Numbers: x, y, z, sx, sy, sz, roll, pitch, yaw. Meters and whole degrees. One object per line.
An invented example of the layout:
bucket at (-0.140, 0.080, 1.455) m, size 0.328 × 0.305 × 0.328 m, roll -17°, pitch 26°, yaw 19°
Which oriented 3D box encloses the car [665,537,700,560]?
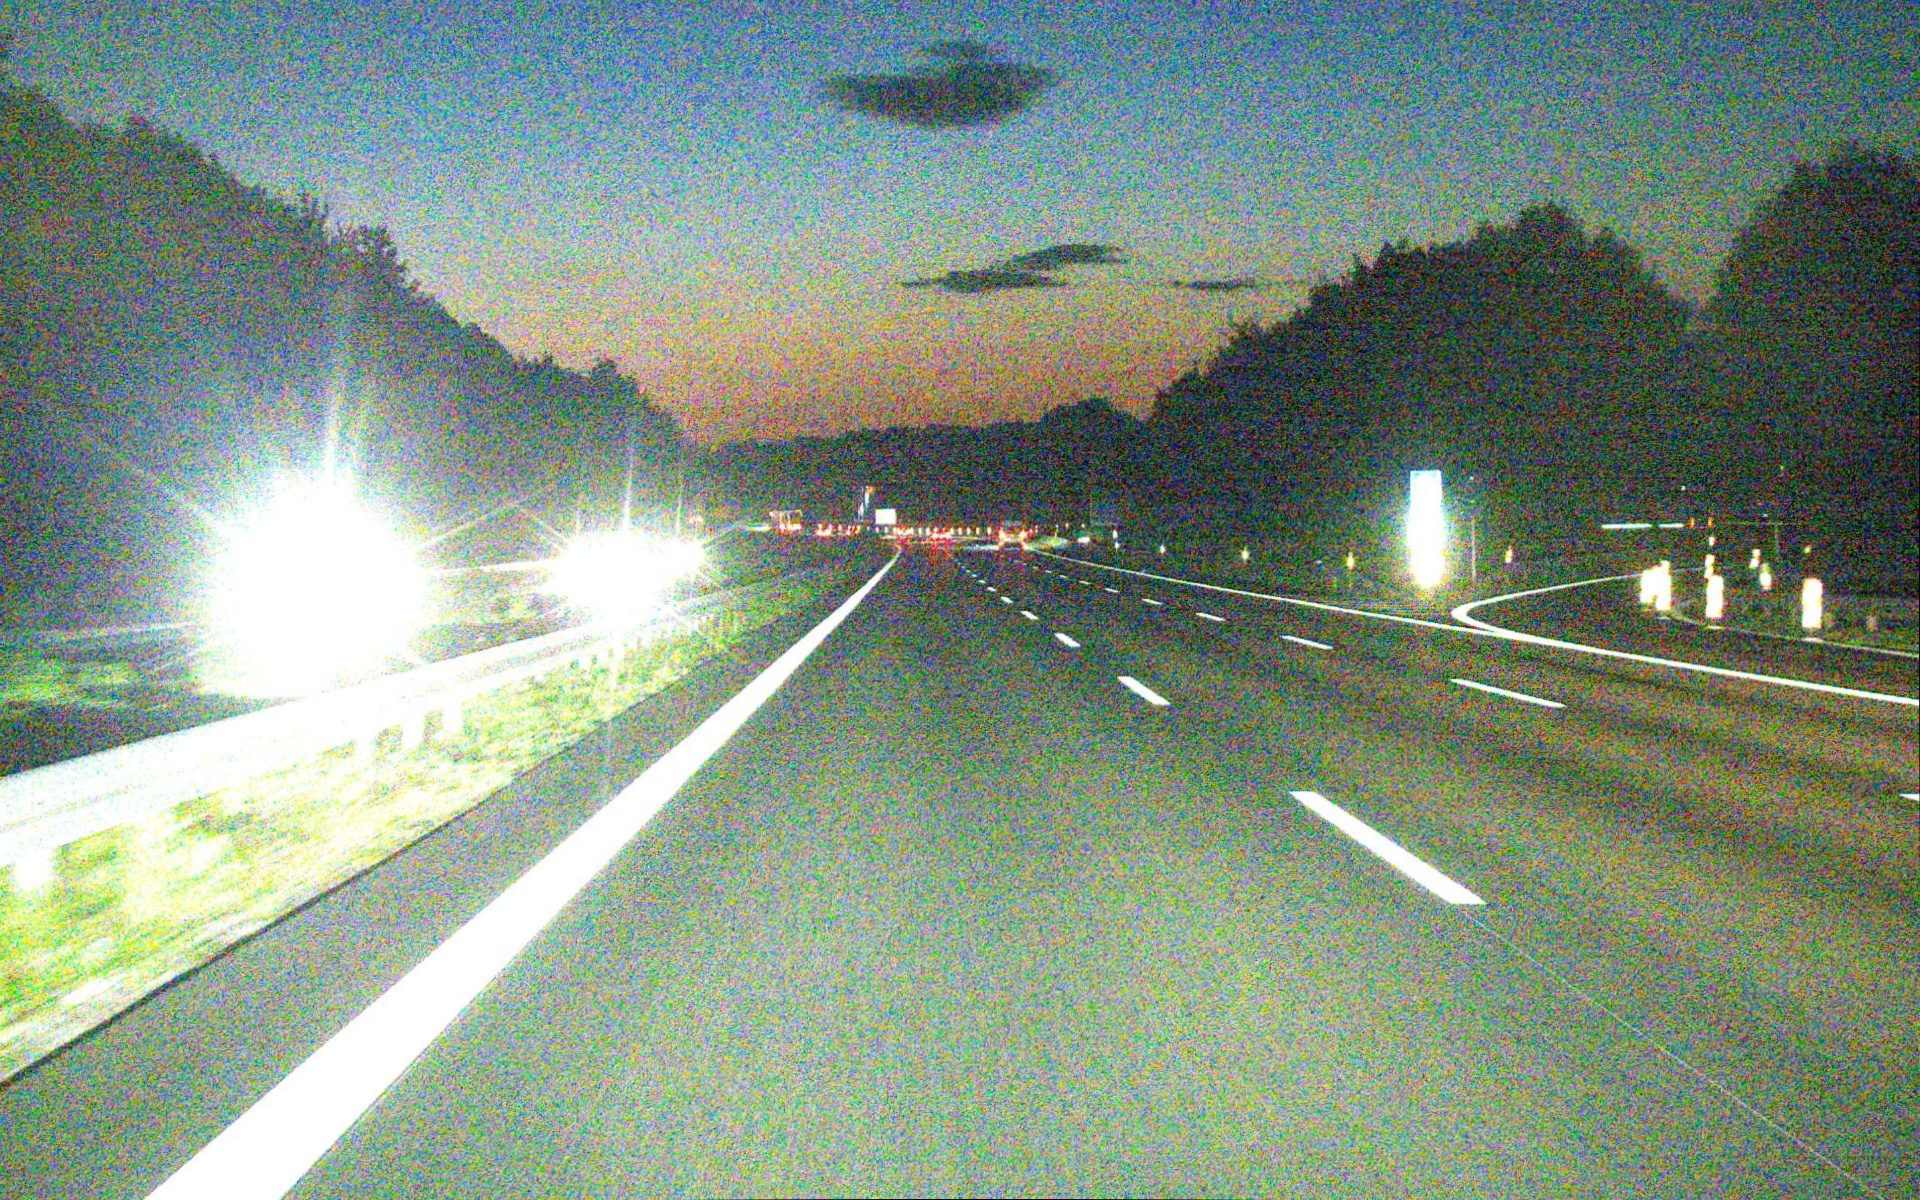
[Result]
car at (-19.306, -3.561, 239.199) m, size 1.993 × 1.498 × 5.201 m, roll -2°, pitch 1°, yaw 0°

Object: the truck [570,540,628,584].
truck at (-16.352, -1.707, 155.820) m, size 1.993 × 1.935 × 5.240 m, roll -1°, pitch 0°, yaw 1°

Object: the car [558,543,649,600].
car at (-9.958, -0.809, 96.266) m, size 1.993 × 1.456 × 4.900 m, roll -3°, pitch 1°, yaw 0°

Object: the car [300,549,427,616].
car at (-13.573, -0.433, 78.549) m, size 1.993 × 1.389 × 5.706 m, roll -2°, pitch 1°, yaw -1°

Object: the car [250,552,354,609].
car at (-18.368, -0.555, 96.106) m, size 1.993 × 1.480 × 4.801 m, roll -2°, pitch 1°, yaw -1°
